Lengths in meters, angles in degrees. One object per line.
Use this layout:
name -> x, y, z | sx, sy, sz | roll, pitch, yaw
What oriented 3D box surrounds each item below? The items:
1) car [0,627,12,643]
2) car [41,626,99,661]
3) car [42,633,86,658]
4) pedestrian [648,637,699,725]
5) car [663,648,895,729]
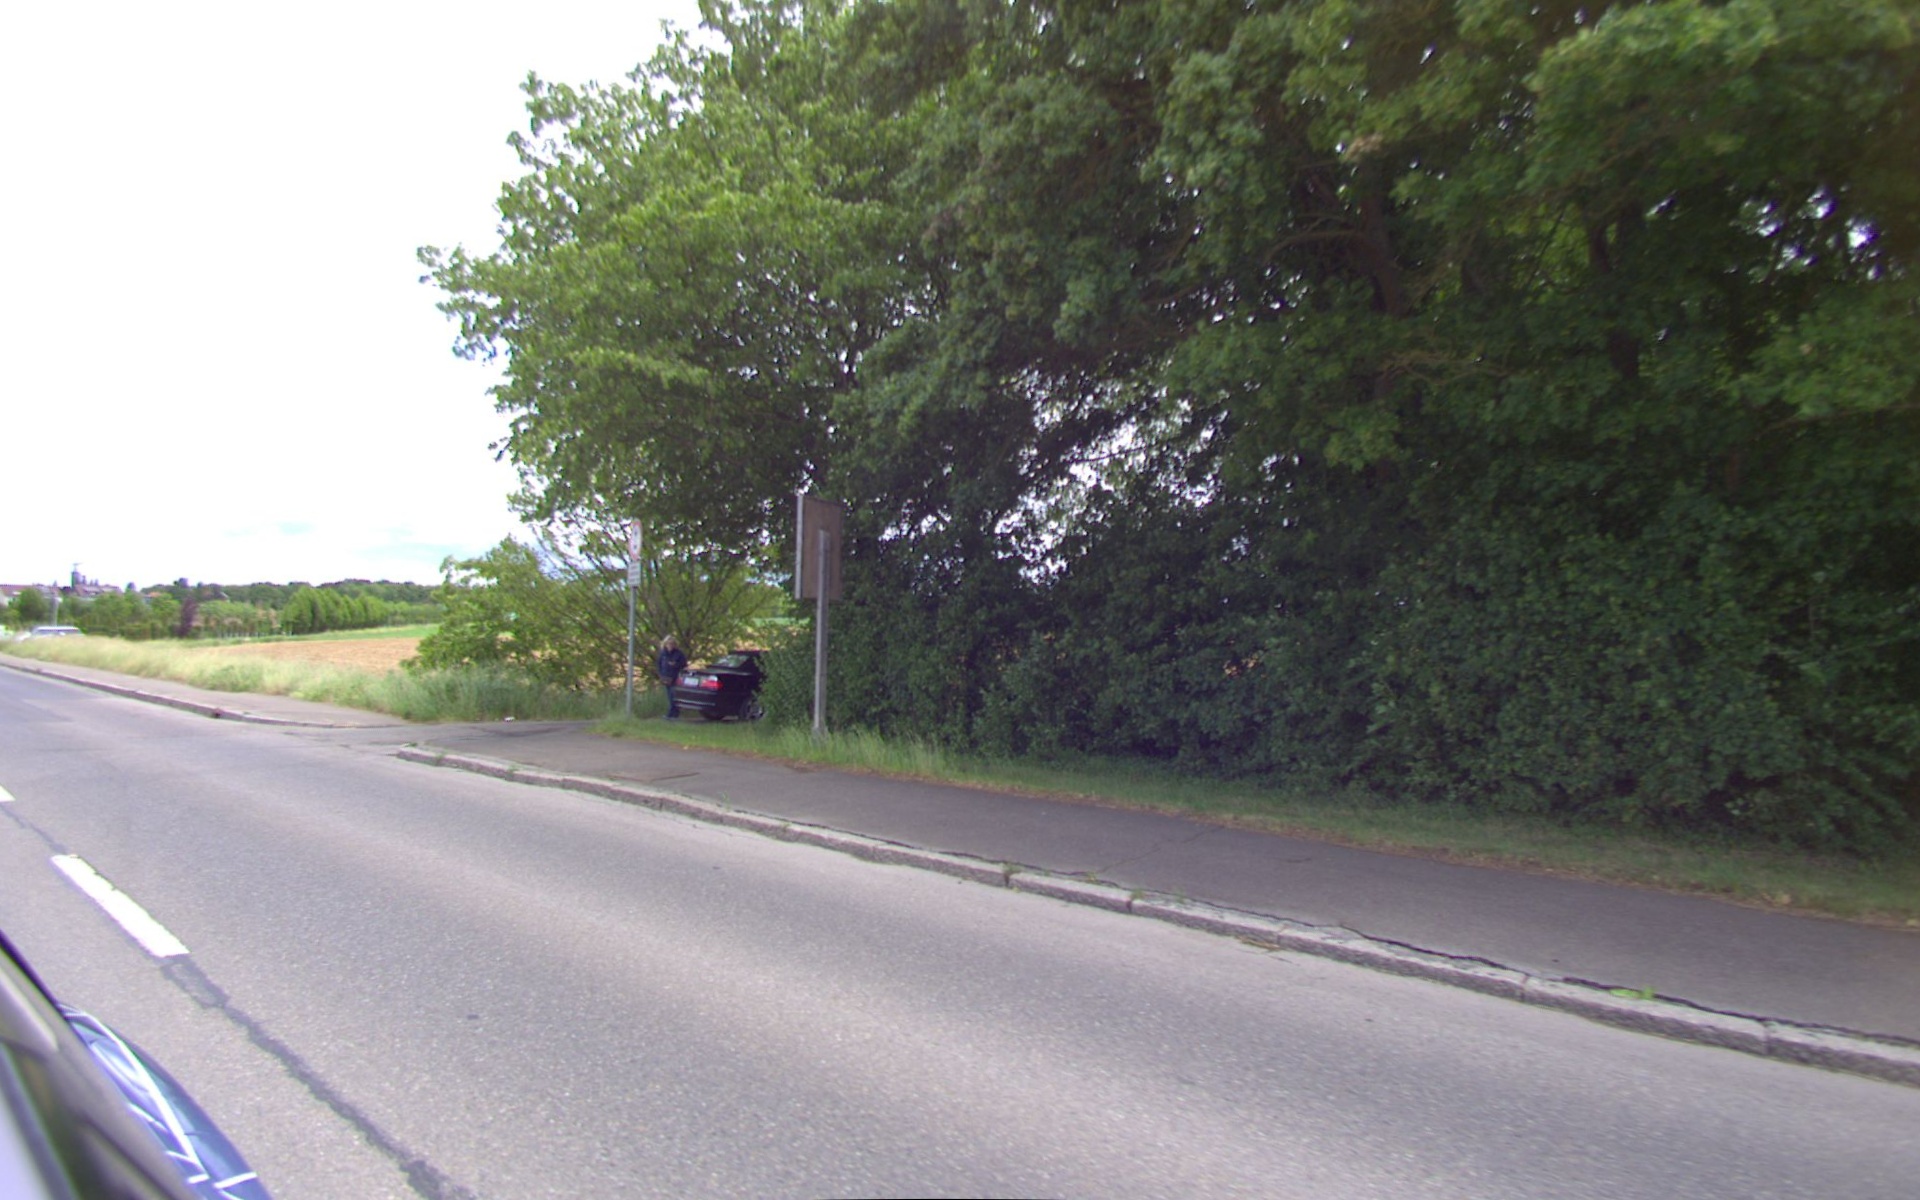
car -> -80.927, 2.898, 83.830 | 3.169, 1.260, 1.457 | 0, 0, -21
car -> -39.485, 1.899, 44.877 | 3.867, 1.459, 1.453 | -1, 0, 41
car -> -50.670, 2.544, 57.227 | 3.598, 1.260, 1.433 | -1, 0, 41
pedestrian -> -5.386, 1.504, 18.998 | 0.695, 1.606, 0.708 | 1, -4, -38
car -> -3.334, 1.645, 19.055 | 3.938, 1.321, 1.746 | 5, -4, -42
